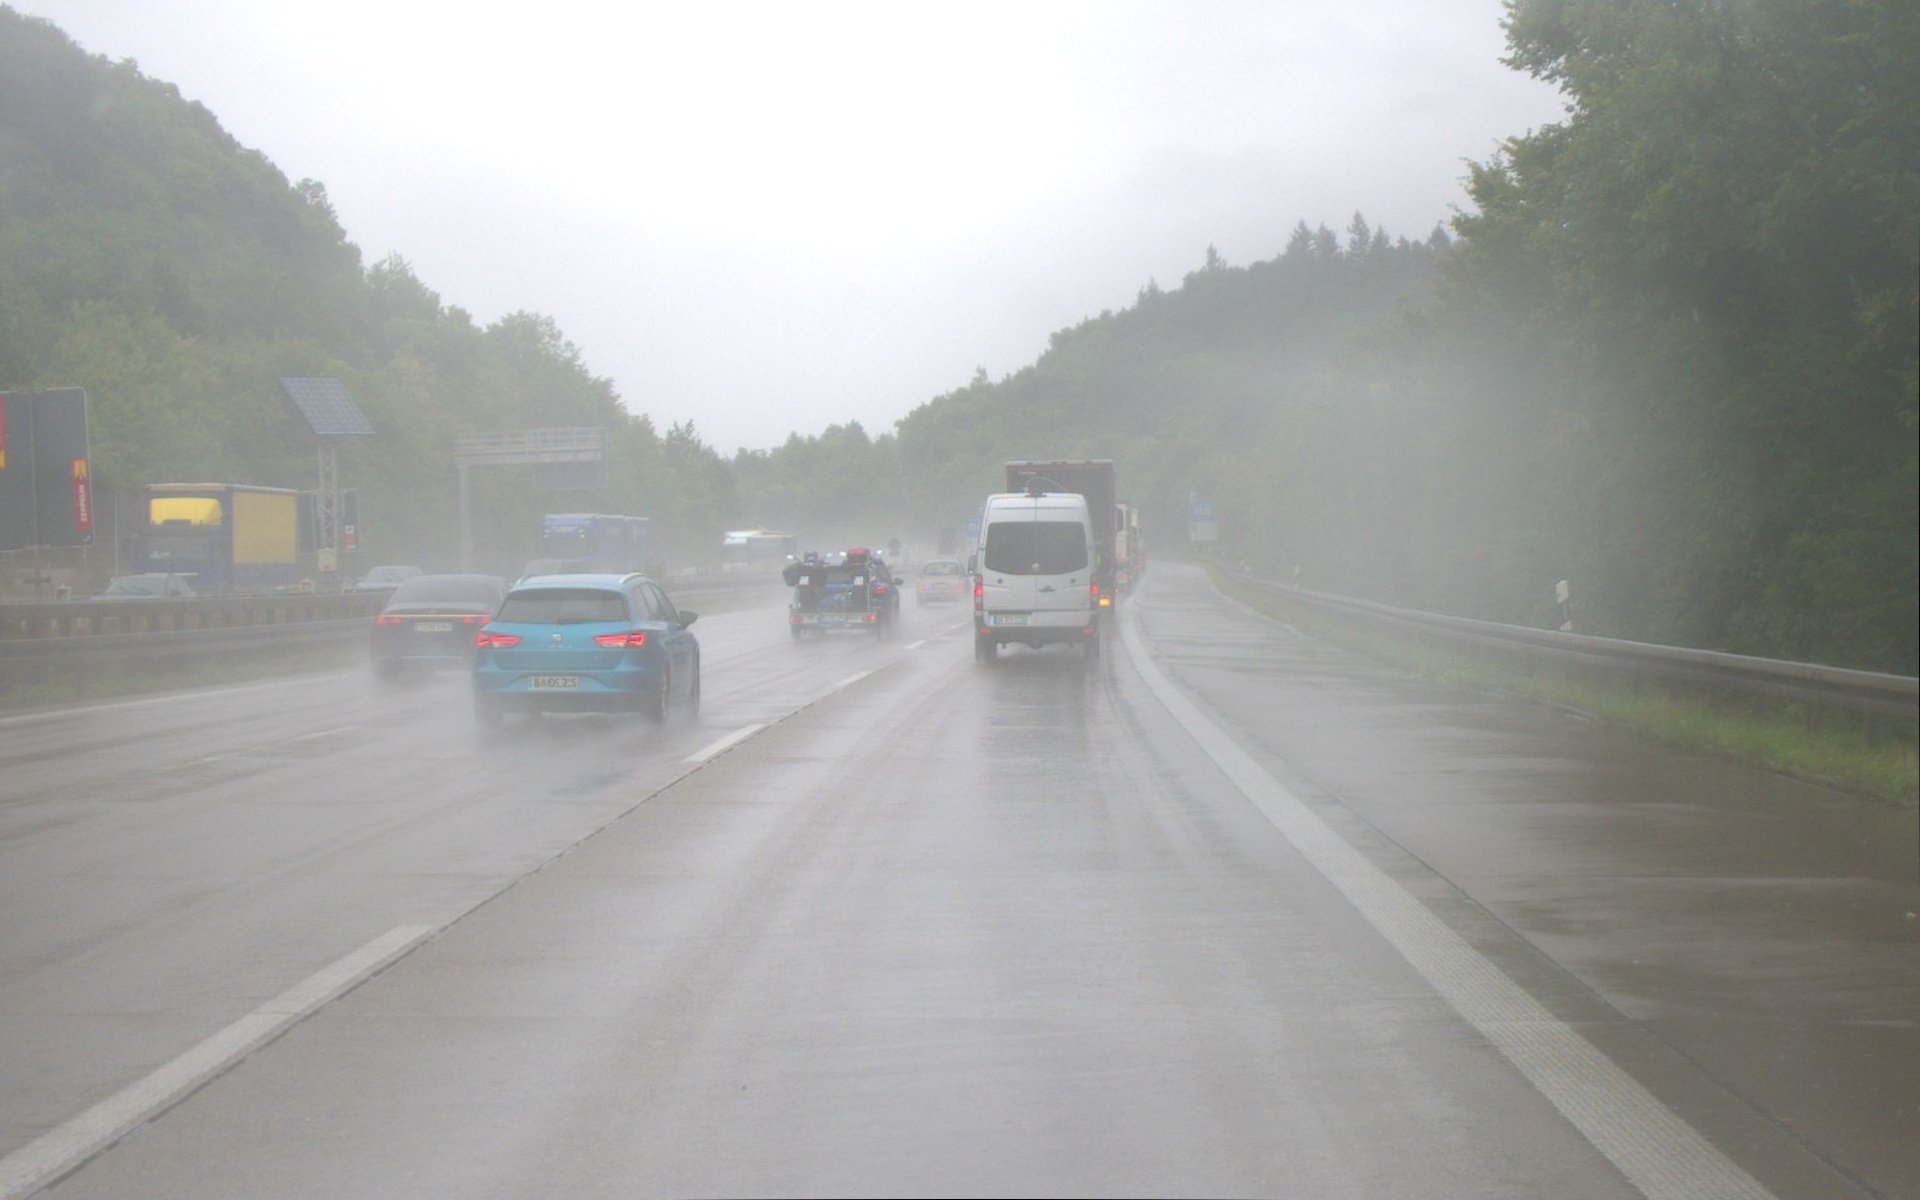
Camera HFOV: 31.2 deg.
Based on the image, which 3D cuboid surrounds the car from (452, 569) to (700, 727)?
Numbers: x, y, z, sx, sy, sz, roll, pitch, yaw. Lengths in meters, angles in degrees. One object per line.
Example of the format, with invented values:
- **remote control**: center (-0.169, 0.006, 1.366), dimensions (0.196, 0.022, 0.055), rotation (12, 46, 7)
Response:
- **car**: center (-3.527, 0.399, 32.279), dimensions (1.856, 1.334, 4.351), rotation (0, 1, 0)

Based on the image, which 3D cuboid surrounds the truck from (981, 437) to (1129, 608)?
- **truck**: center (2.466, -2.070, 86.833), dimensions (3.385, 3.954, 8.667), rotation (-2, 3, 3)

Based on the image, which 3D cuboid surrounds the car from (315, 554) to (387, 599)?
- **car**: center (-22.965, -0.904, 129.812), dimensions (1.993, 1.656, 4.000), rotation (-1, 1, 0)

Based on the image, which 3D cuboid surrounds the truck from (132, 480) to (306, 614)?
- **truck**: center (-21.362, -1.552, 99.684), dimensions (2.585, 3.688, 9.800), rotation (0, 1, 2)

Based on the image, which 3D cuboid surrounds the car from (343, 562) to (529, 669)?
- **car**: center (-7.001, 0.170, 46.304), dimensions (1.856, 1.334, 4.351), rotation (0, 1, 0)

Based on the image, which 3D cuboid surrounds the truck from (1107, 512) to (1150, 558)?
- **truck**: center (11.166, -4.326, 228.333), dimensions (2.585, 2.971, 9.026), rotation (0, 1, 2)

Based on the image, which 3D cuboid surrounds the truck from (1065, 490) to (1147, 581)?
- **truck**: center (6.536, -2.825, 152.800), dimensions (3.091, 3.896, 9.052), rotation (1, 1, 6)

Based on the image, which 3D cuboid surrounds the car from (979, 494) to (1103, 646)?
- **car**: center (1.318, -0.506, 55.284), dimensions (1.899, 2.326, 5.250), rotation (0, 1, 2)

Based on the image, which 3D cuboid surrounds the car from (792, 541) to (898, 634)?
- **car**: center (-2.293, -0.287, 69.390), dimensions (1.869, 1.804, 4.189), rotation (0, 1, 2)

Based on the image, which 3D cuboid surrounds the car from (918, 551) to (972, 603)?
- **car**: center (-0.460, -0.771, 111.978), dimensions (1.614, 1.622, 4.189), rotation (0, 1, 2)
